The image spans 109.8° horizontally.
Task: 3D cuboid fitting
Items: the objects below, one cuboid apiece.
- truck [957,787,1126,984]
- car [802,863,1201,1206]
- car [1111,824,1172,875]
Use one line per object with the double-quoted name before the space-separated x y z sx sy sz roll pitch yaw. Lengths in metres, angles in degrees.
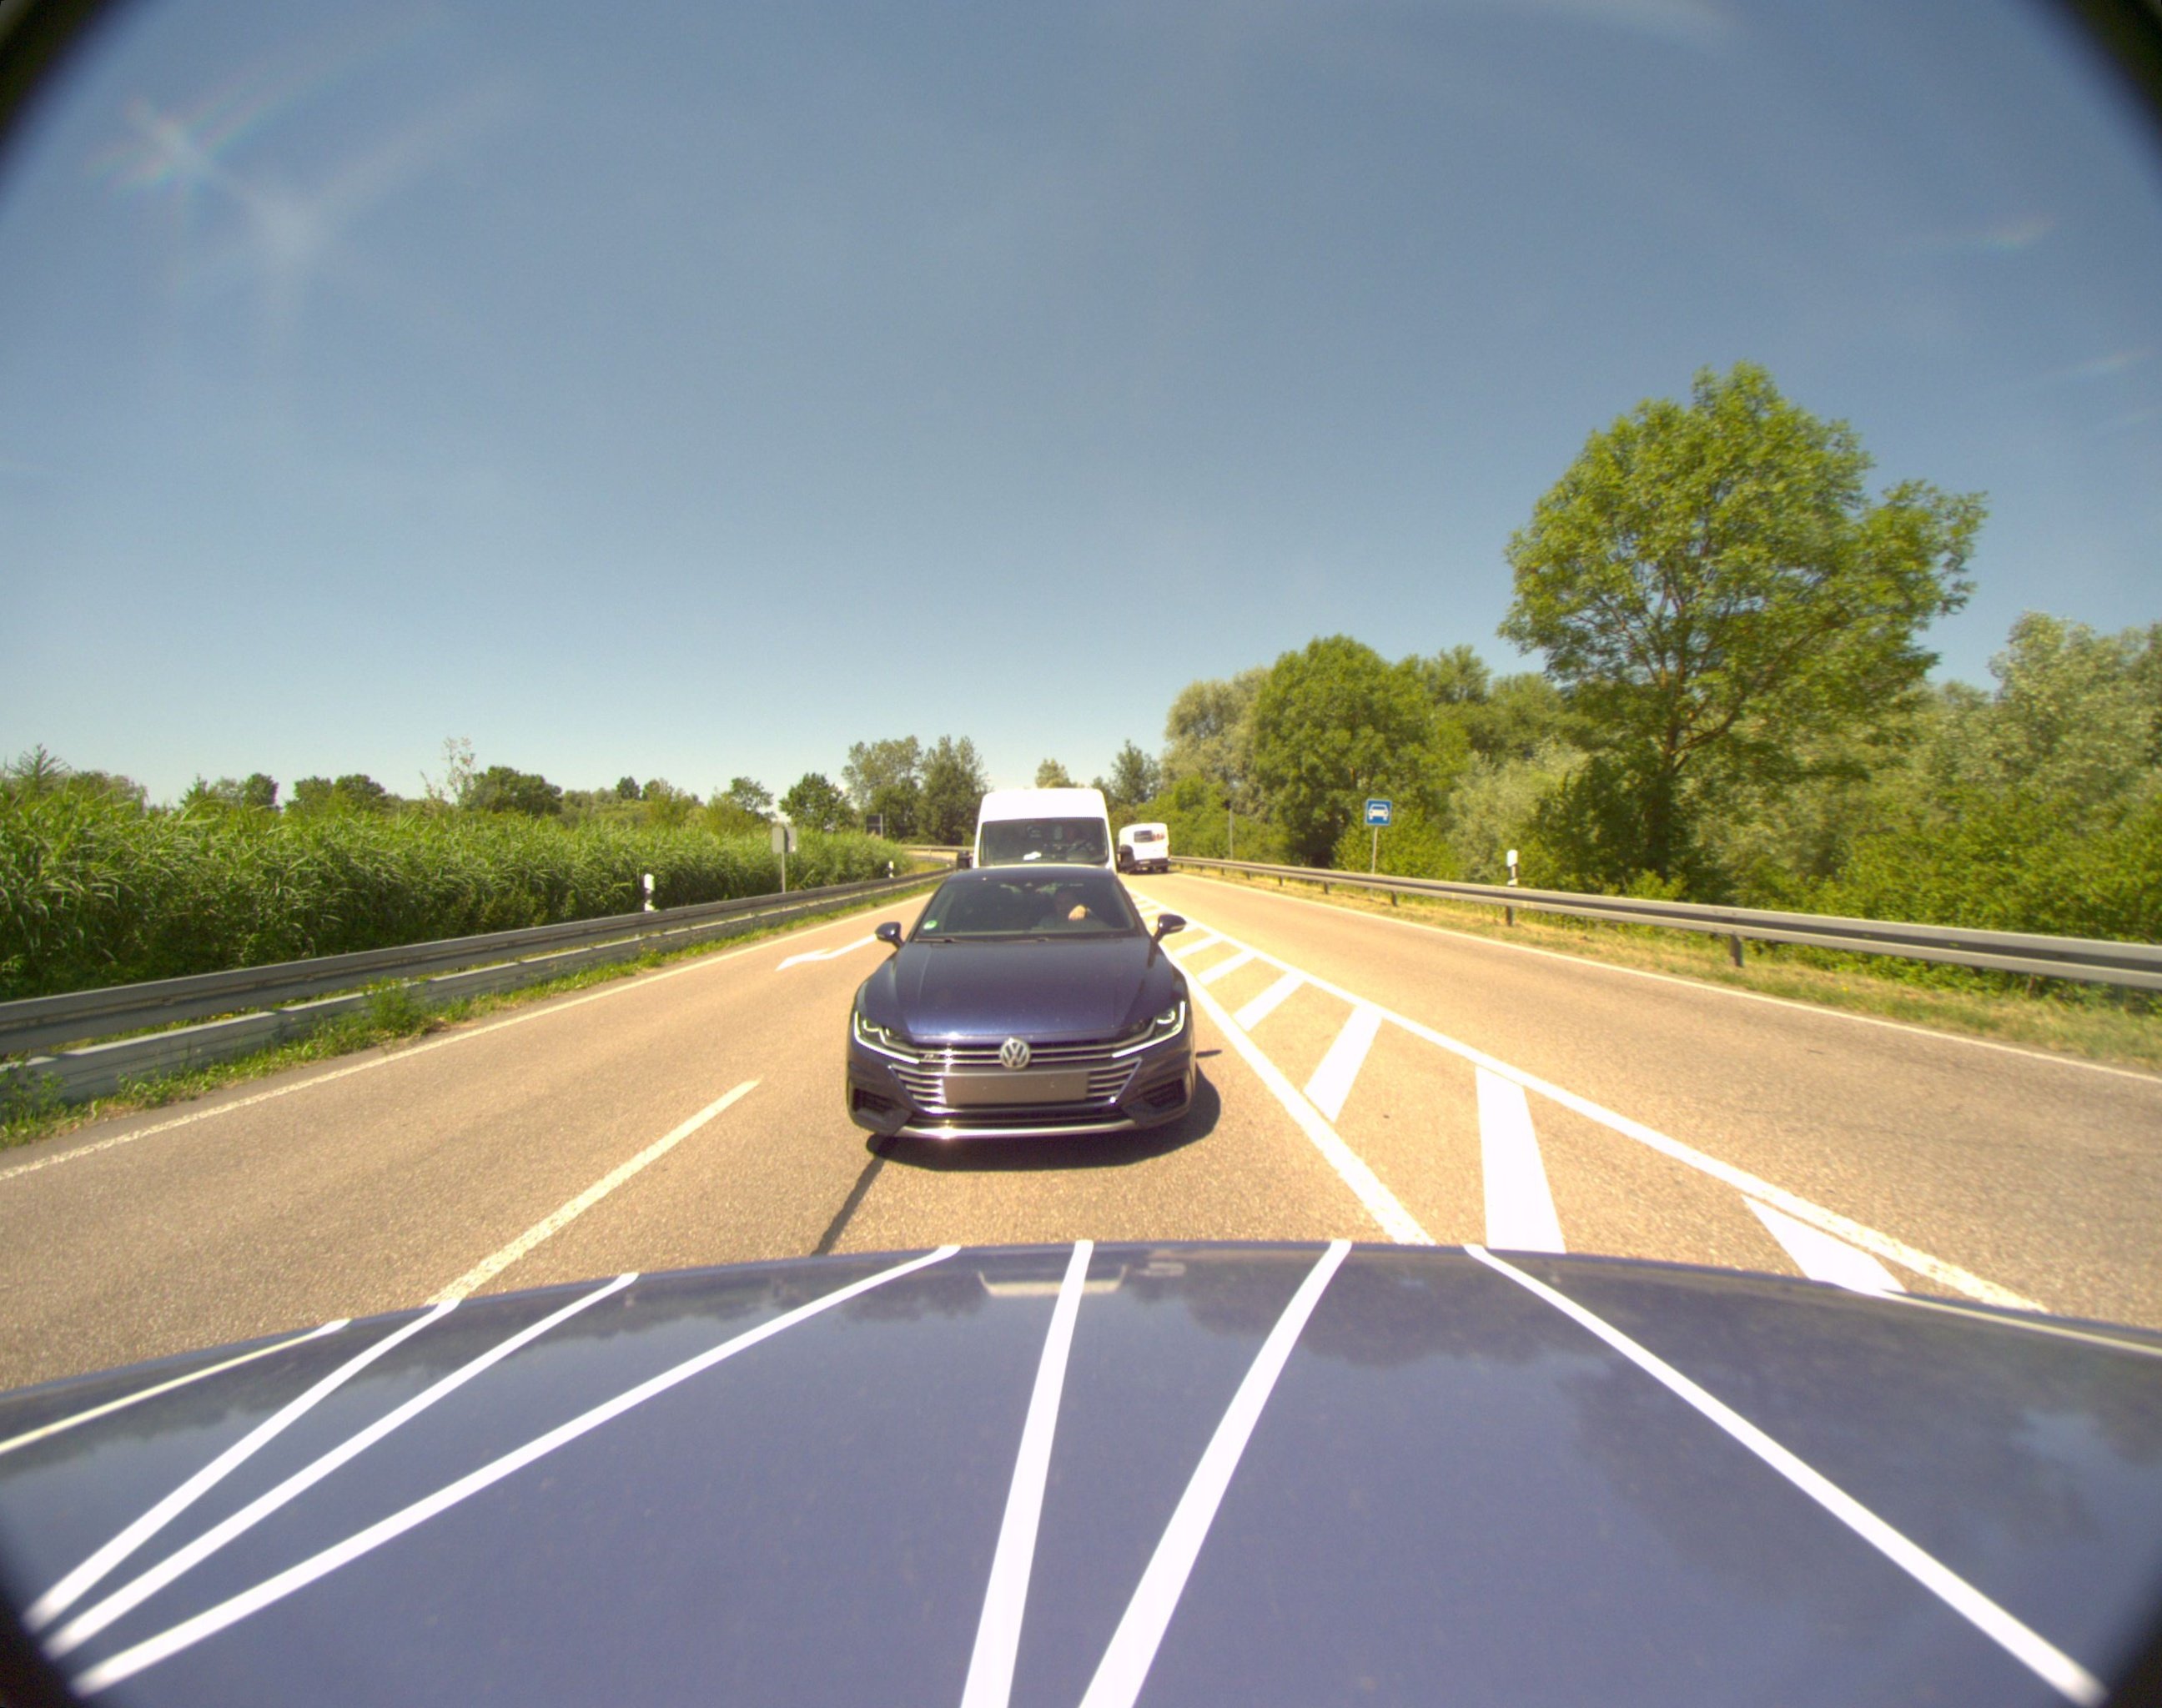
"truck" -0.661 0.354 12.281 2.011 2.365 5.909 -2 1 -4
"car" -0.341 0.875 5.746 1.819 1.454 4.415 -2 1 1
"car" 3.077 -0.292 39.887 2.000 2.403 5.585 -3 2 -7
